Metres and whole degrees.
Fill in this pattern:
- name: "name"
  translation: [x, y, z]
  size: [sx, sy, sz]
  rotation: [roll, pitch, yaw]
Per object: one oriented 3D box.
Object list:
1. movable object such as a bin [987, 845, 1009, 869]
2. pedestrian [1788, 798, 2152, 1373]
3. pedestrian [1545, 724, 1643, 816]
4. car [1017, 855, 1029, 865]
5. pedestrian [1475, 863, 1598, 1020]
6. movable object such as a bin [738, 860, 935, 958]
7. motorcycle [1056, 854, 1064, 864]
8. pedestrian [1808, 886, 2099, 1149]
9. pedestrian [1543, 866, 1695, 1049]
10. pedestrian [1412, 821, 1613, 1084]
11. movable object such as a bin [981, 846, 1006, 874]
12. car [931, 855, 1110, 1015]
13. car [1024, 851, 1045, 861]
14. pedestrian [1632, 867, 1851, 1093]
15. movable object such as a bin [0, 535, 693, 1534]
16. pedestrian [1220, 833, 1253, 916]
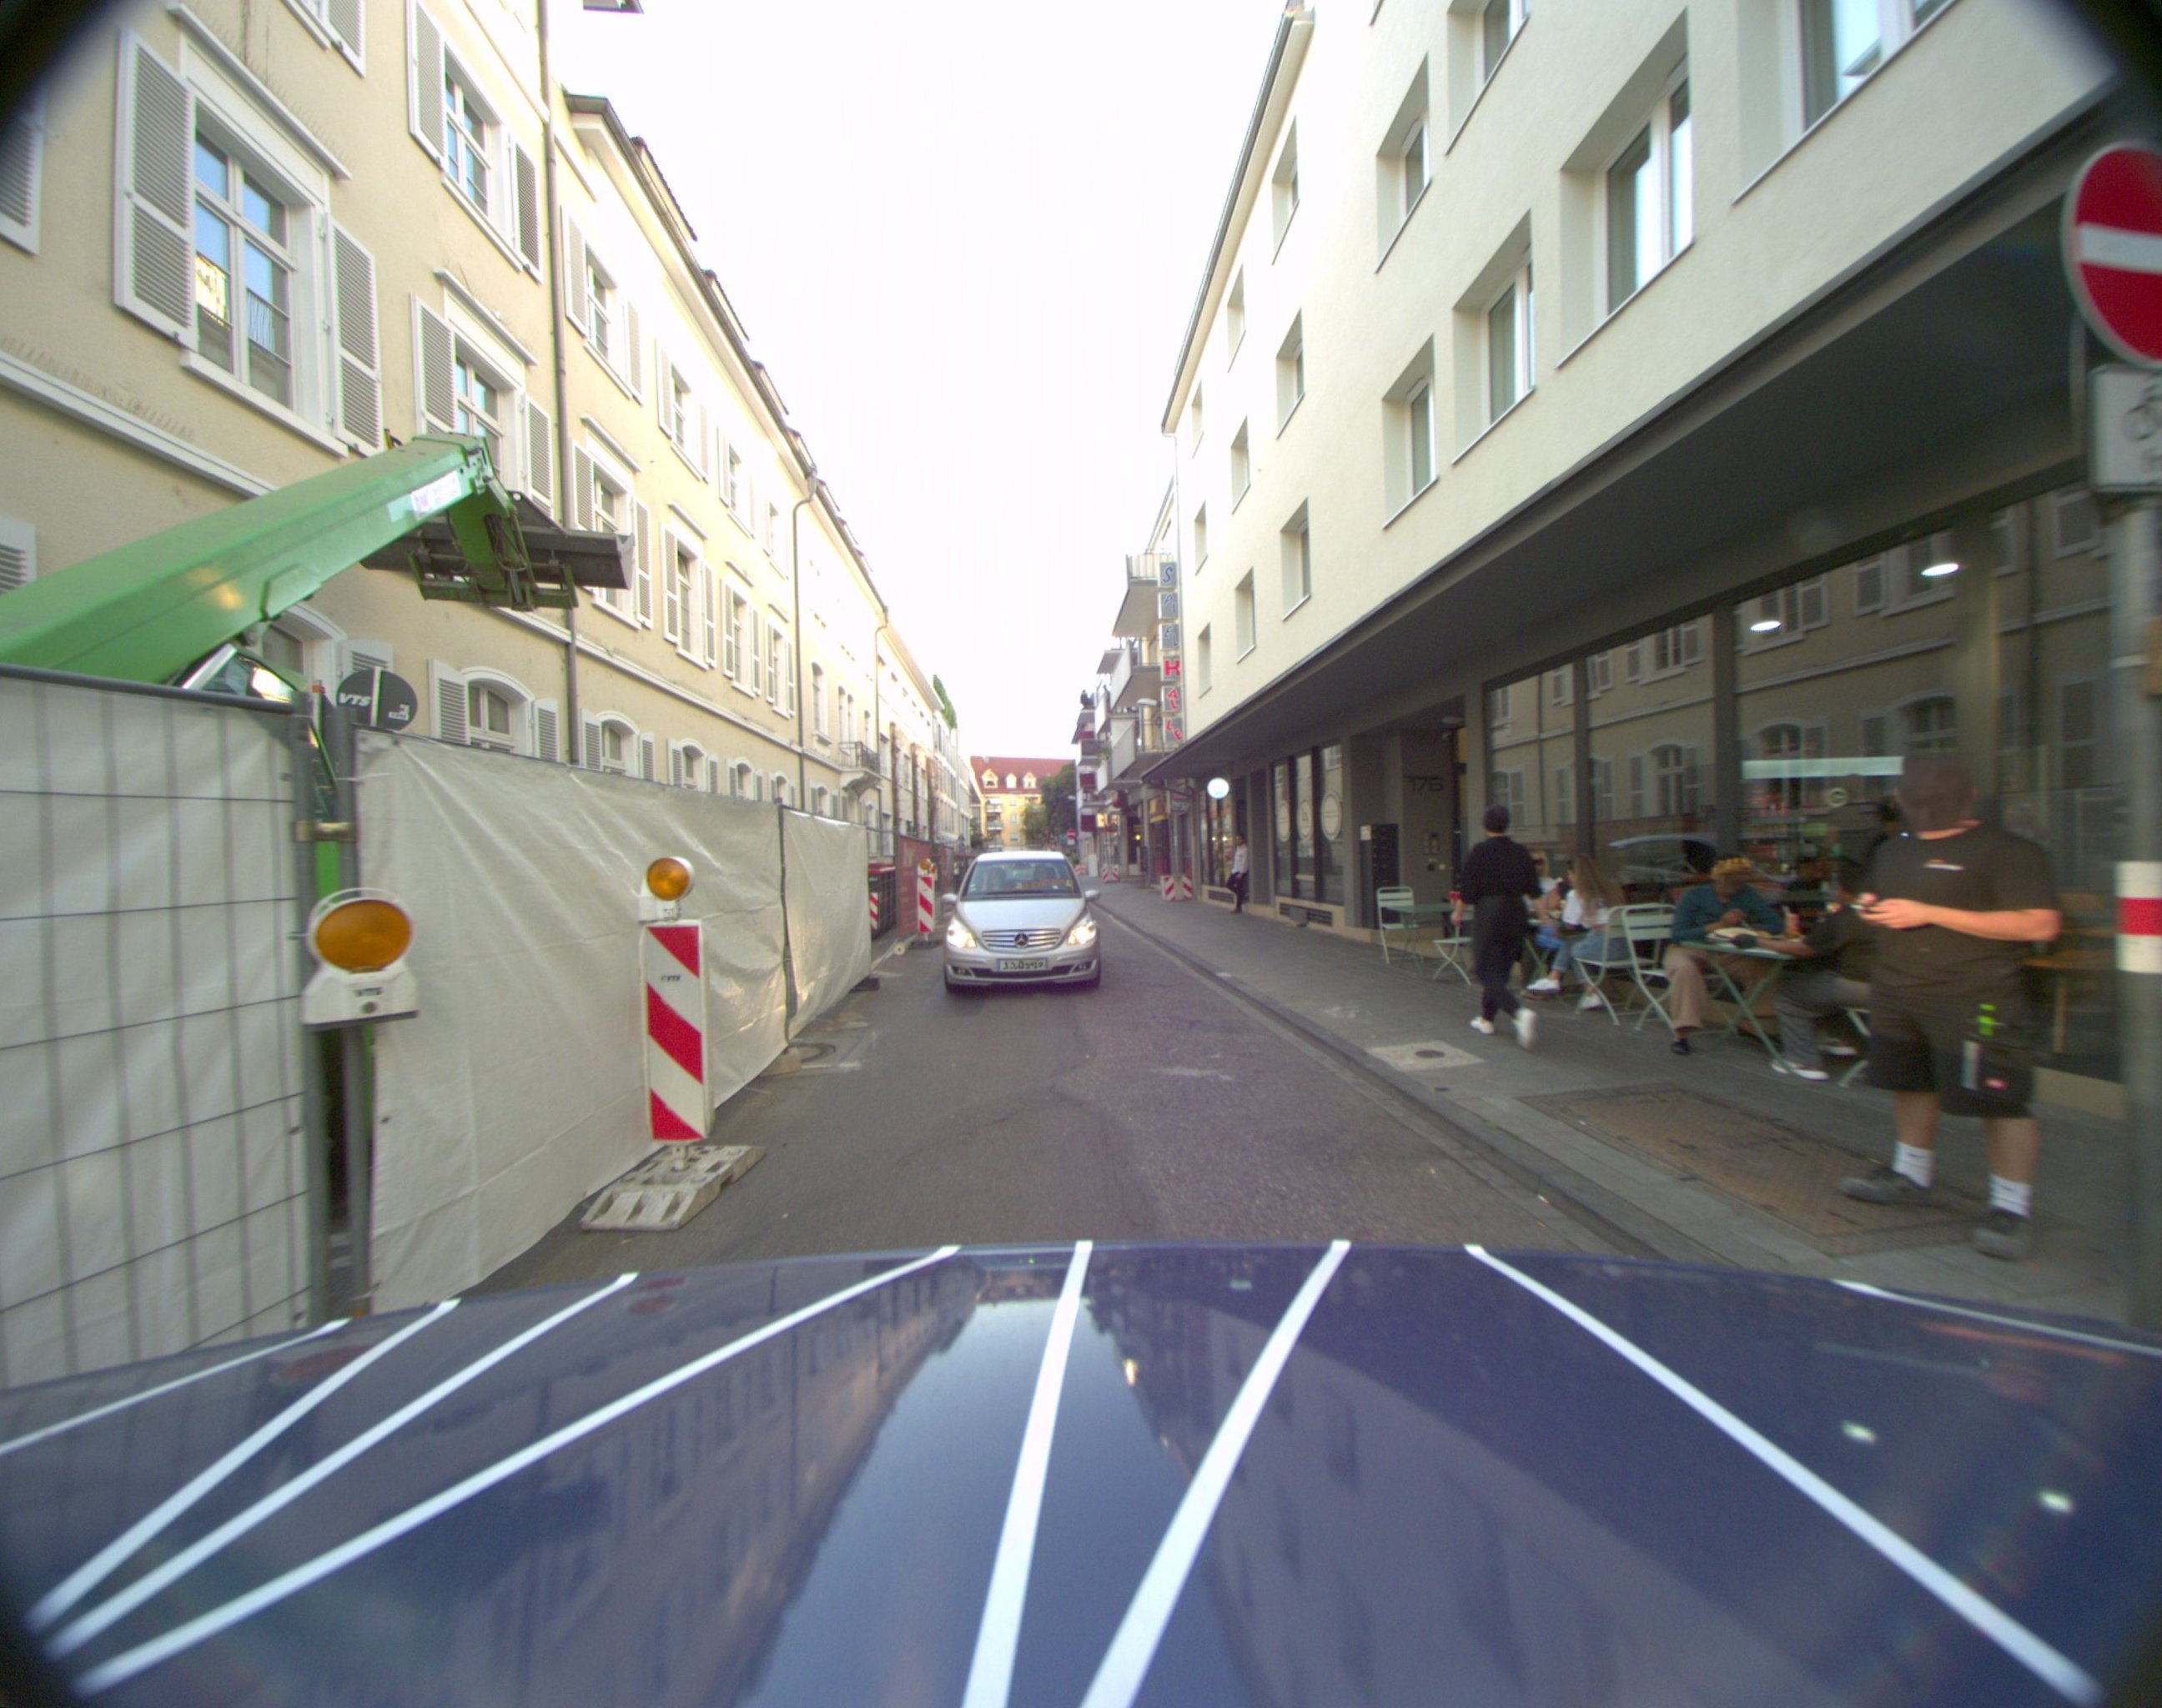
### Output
- name: "movable object such as a bin"
  translation: [-9.582, 0.346, 88.294]
  size: [2.021, 2.608, 5.748]
  rotation: [-4, 1, -3]
- name: "pedestrian"
  translation: [3.011, 0.670, 2.607]
  size: [0.507, 1.658, 0.686]
  rotation: [-4, 1, -28]
- name: "pedestrian"
  translation: [13.734, -2.111, 20.396]
  size: [1.994, 2.002, 4.008]
  rotation: [-1, 0, 34]
- name: "car"
  translation: [-7.909, 0.824, 103.411]
  size: [1.540, 1.317, 3.352]
  rotation: [-2, 0, -4]
- name: "pedestrian"
  translation: [4.004, 0.737, 6.719]
  size: [0.574, 1.268, 0.713]
  rotation: [-4, 1, -4]
- name: "movable object such as a bin"
  translation: [-5.286, 1.044, 17.980]
  size: [2.744, 1.629, 7.548]
  rotation: [-2, 0, -5]
- name: "motorcycle"
  translation: [-3.084, 0.724, 110.548]
  size: [0.858, 1.345, 1.959]
  rotation: [-2, 0, 5]
- name: "pedestrian"
  translation: [4.246, 0.742, 3.753]
  size: [0.574, 1.107, 0.713]
  rotation: [-4, 1, -4]
- name: "pedestrian"
  translation: [4.070, 0.746, 5.796]
  size: [0.574, 1.268, 0.713]
  rotation: [-4, 1, -4]
- name: "pedestrian"
  translation: [2.998, 0.631, 5.366]
  size: [0.798, 1.658, 0.901]
  rotation: [-3, 1, -6]
- name: "movable object such as a bin"
  translation: [-8.848, 0.570, 77.398]
  size: [2.021, 2.608, 5.749]
  rotation: [-4, 0, -3]
- name: "car"
  translation: [-0.762, 0.851, 9.922]
  size: [1.805, 1.607, 4.271]
  rotation: [-1, -1, -4]
- name: "car"
  translation: [-7.399, 0.362, 121.628]
  size: [1.830, 1.460, 4.319]
  rotation: [-1, 2, -26]
- name: "pedestrian"
  translation: [4.131, 0.744, 4.808]
  size: [0.704, 1.268, 0.713]
  rotation: [-4, 1, -4]
- name: "movable object such as a bin"
  translation: [-4.499, 0.517, 4.173]
  size: [2.612, 2.822, 4.448]
  rotation: [-1, 0, -4]
- name: "pedestrian"
  translation: [3.498, 0.462, 17.113]
  size: [0.532, 1.824, 0.562]
  rotation: [-2, 0, -10]
